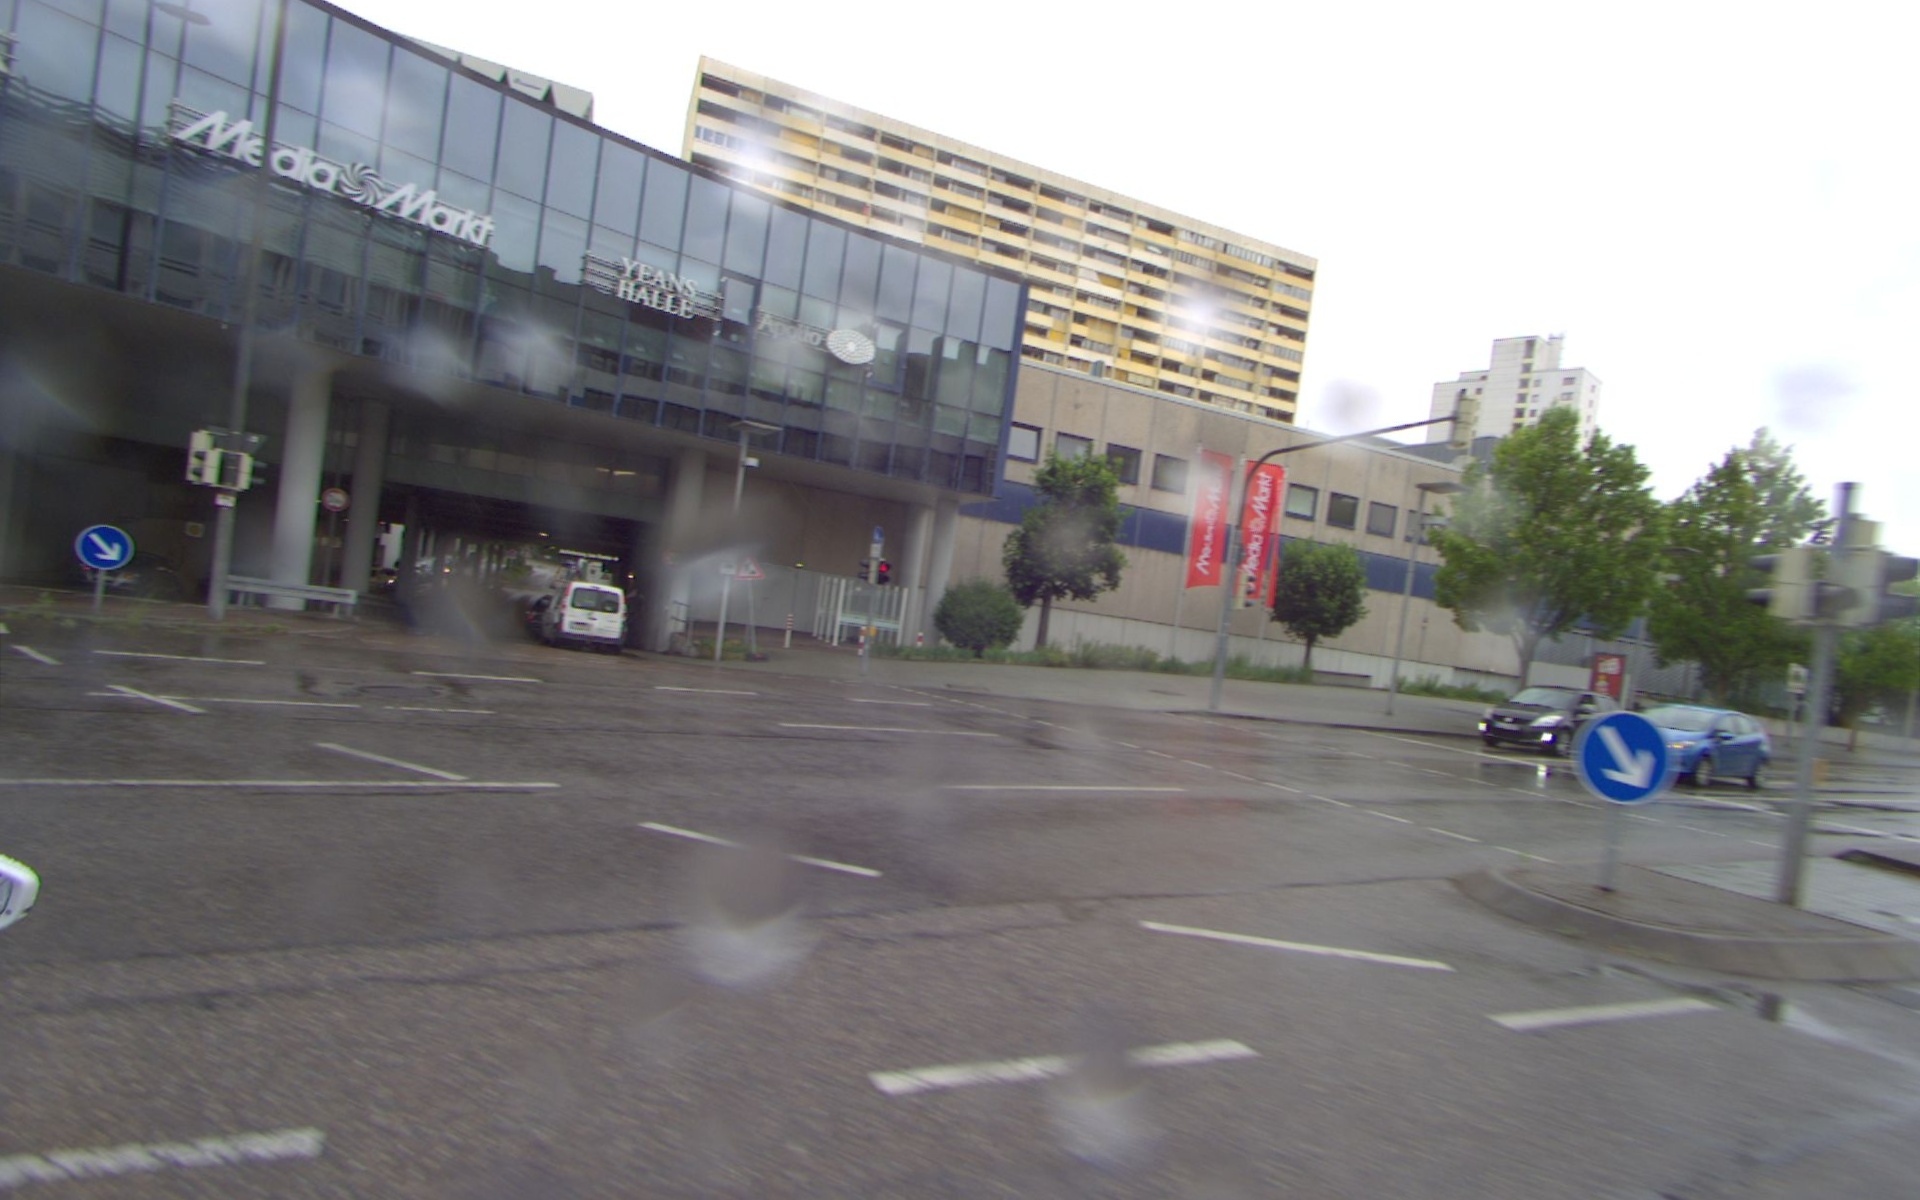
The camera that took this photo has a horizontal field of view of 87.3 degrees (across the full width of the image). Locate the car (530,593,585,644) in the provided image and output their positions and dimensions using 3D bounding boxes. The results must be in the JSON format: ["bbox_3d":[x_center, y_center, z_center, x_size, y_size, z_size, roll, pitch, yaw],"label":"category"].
[{"bbox_3d":[-15.126,0.724,37.701,1.617,1.628,4.245,7,-4,-23],"label":"car"}]

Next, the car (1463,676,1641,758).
[{"bbox_3d":[13.241,2.625,22.492,3.655,1.412,1.731,7,0,-29],"label":"car"}]

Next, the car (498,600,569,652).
[{"bbox_3d":[-14.407,0.890,34.167,1.737,1.480,3.933,7,-3,-17],"label":"car"}]

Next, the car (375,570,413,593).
[{"bbox_3d":[-43.772,-1.449,77.878,1.974,1.481,3.978,7,-1,-23],"label":"car"}]

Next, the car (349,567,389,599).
[{"bbox_3d":[-38.515,-1.120,65.618,1.821,1.748,3.973,8,-1,-27],"label":"car"}]

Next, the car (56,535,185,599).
[{"bbox_3d":[-26.506,-0.981,31.948,1.874,1.485,4.012,8,-5,-22],"label":"car"}]

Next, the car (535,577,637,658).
[{"bbox_3d":[-10.258,0.430,27.424,1.910,1.818,4.268,7,-2,-28],"label":"car"}]

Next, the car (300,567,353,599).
[{"bbox_3d":[-37.549,-1.020,59.693,1.895,1.607,3.918,7,-1,-23],"label":"car"}]

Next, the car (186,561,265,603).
[{"bbox_3d":[-31.417,-0.734,43.160,1.753,1.480,3.857,7,-2,-23],"label":"car"}]

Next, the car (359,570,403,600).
[{"bbox_3d":[-40.703,-1.066,70.831,1.975,1.682,3.978,10,-2,-23],"label":"car"}]

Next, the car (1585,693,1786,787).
[{"bbox_3d":[14.000,2.701,19.381,3.813,1.414,1.666,7,0,-31],"label":"car"}]
